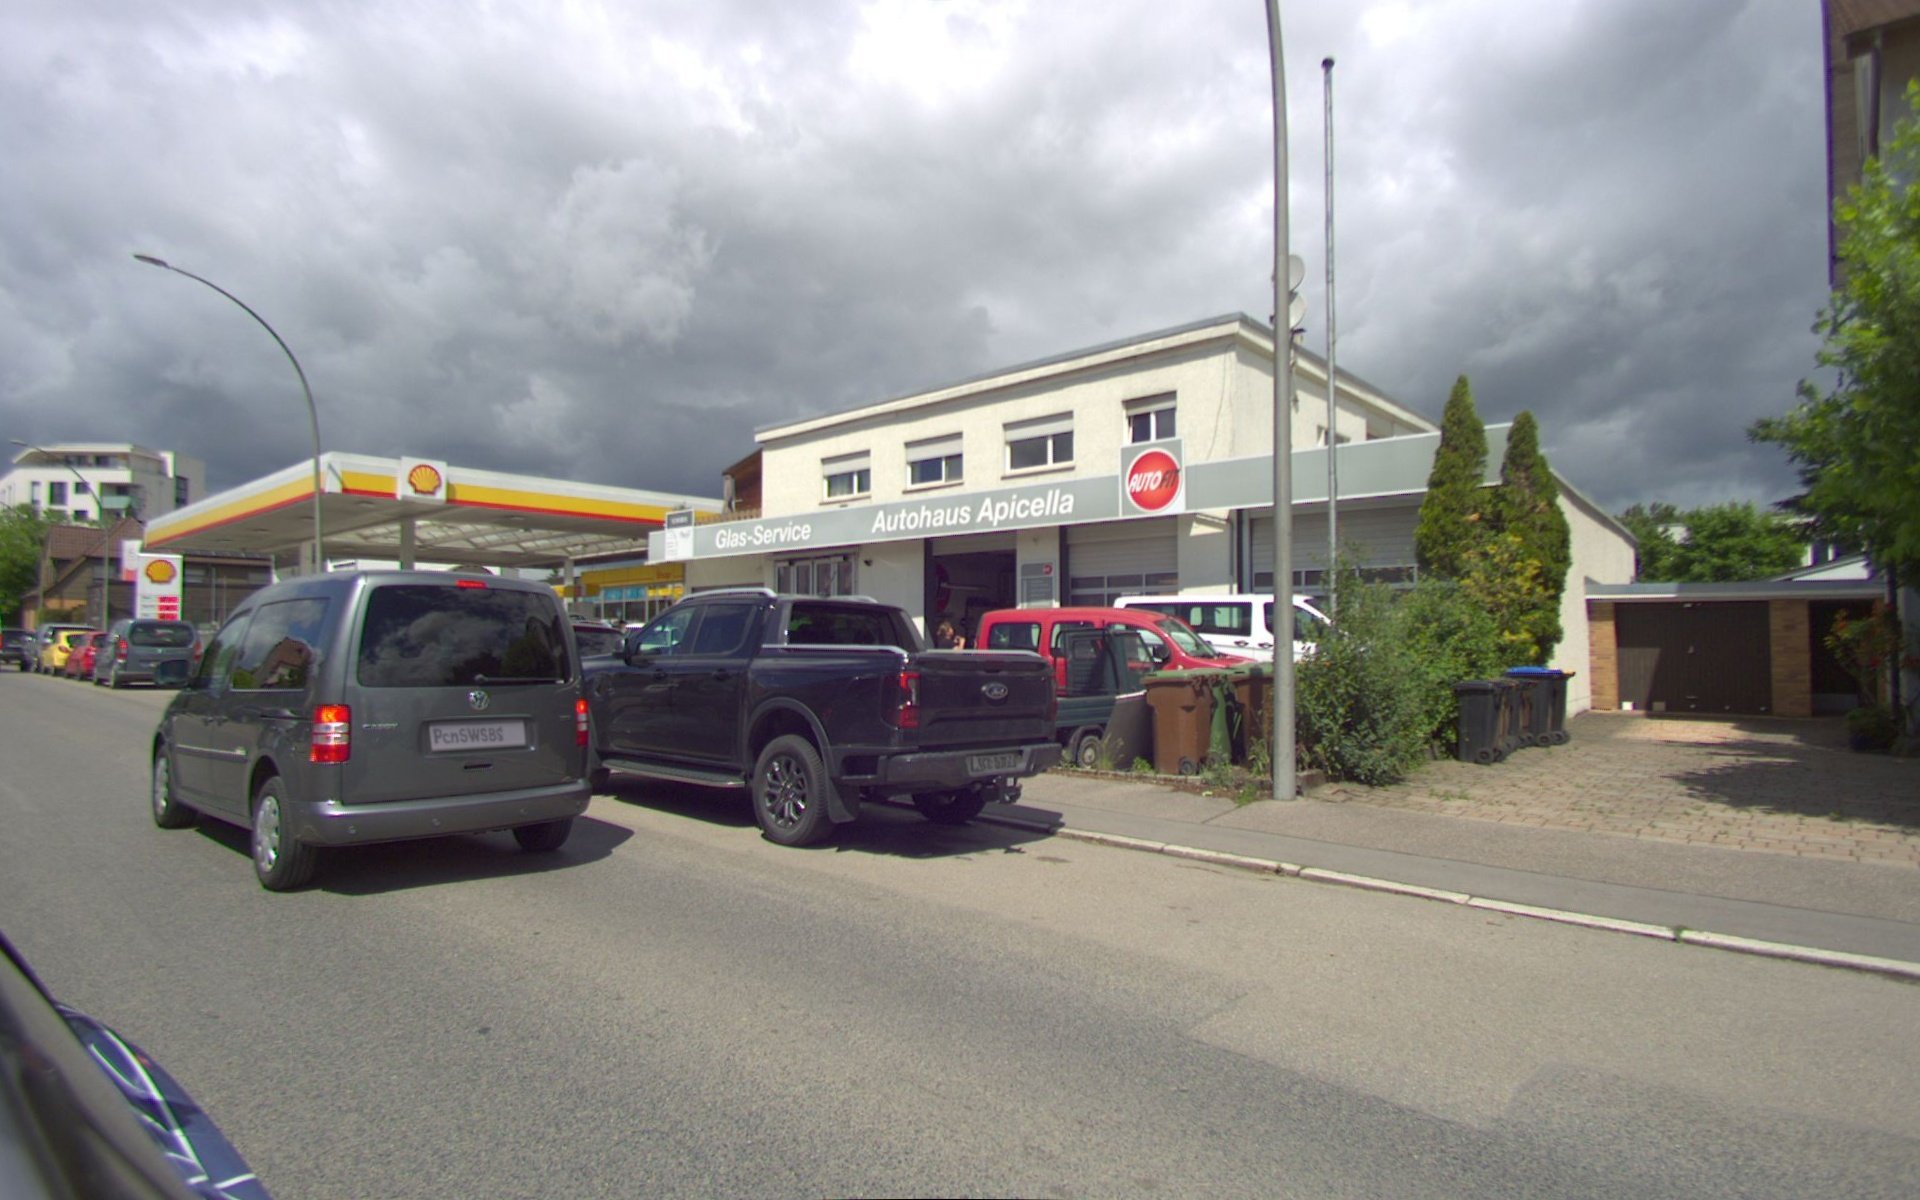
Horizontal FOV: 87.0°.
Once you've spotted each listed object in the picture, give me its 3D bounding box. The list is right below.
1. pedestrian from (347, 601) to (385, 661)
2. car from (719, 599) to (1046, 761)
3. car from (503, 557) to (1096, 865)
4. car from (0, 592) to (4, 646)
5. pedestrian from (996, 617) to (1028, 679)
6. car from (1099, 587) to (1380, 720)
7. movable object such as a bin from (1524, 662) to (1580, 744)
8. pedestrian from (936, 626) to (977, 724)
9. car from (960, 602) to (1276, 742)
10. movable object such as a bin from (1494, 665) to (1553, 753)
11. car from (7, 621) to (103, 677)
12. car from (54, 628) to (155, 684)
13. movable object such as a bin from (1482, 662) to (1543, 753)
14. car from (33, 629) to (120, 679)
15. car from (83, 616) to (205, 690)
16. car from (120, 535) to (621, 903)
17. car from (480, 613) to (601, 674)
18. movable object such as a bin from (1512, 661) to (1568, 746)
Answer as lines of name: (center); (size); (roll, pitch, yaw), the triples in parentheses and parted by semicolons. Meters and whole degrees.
pedestrian: (-22.370, 1.156, 38.124); (1.011, 2.195, 0.928); (-2, -1, 40)
car: (-1.147, 0.946, 13.350); (4.335, 1.799, 1.773); (-2, -2, 41)
car: (-1.658, 0.804, 8.584); (5.427, 1.835, 1.890); (-2, -6, 42)
car: (-35.842, 1.155, 36.022); (6.162, 2.787, 1.971); (-2, -4, 42)
pedestrian: (1.415, 1.296, 27.552); (0.592, 1.632, 0.621); (-2, -1, 37)
car: (4.688, 0.813, 17.074); (4.317, 1.995, 1.865); (0, 0, 27)
movable object such as a bin: (8.344, 1.435, 14.263); (0.543, 1.089, 0.564); (-2, -1, 43)
pedestrian: (-0.054, 1.228, 16.675); (0.493, 1.570, 0.408); (-2, -1, 41)
car: (2.308, 0.956, 15.138); (4.323, 1.799, 1.779); (0, 1, 31)
movable object such as a bin: (7.472, 1.425, 13.418); (0.543, 1.089, 0.564); (-2, -1, 43)
car: (-32.668, 1.761, 36.511); (4.311, 1.882, 1.767); (-1, -6, 39)
car: (-25.894, 1.672, 30.598); (4.188, 1.526, 1.645); (-2, -6, 42)
movable object such as a bin: (7.083, 1.361, 12.973); (0.543, 1.089, 0.564); (-2, -1, 43)
car: (-29.376, 1.784, 33.610); (3.945, 1.526, 1.644); (-2, -6, 43)
car: (-21.441, 1.376, 26.540); (4.188, 1.751, 1.711); (-2, -6, 42)
car: (-4.291, 0.667, 7.050); (4.335, 1.809, 1.645); (-2, -4, 41)
car: (-13.675, 1.395, 33.372); (1.948, 1.866, 4.982); (0, -2, 0)
movable object such as a bin: (7.930, 1.399, 13.835); (0.543, 1.089, 0.564); (-2, -1, 43)
